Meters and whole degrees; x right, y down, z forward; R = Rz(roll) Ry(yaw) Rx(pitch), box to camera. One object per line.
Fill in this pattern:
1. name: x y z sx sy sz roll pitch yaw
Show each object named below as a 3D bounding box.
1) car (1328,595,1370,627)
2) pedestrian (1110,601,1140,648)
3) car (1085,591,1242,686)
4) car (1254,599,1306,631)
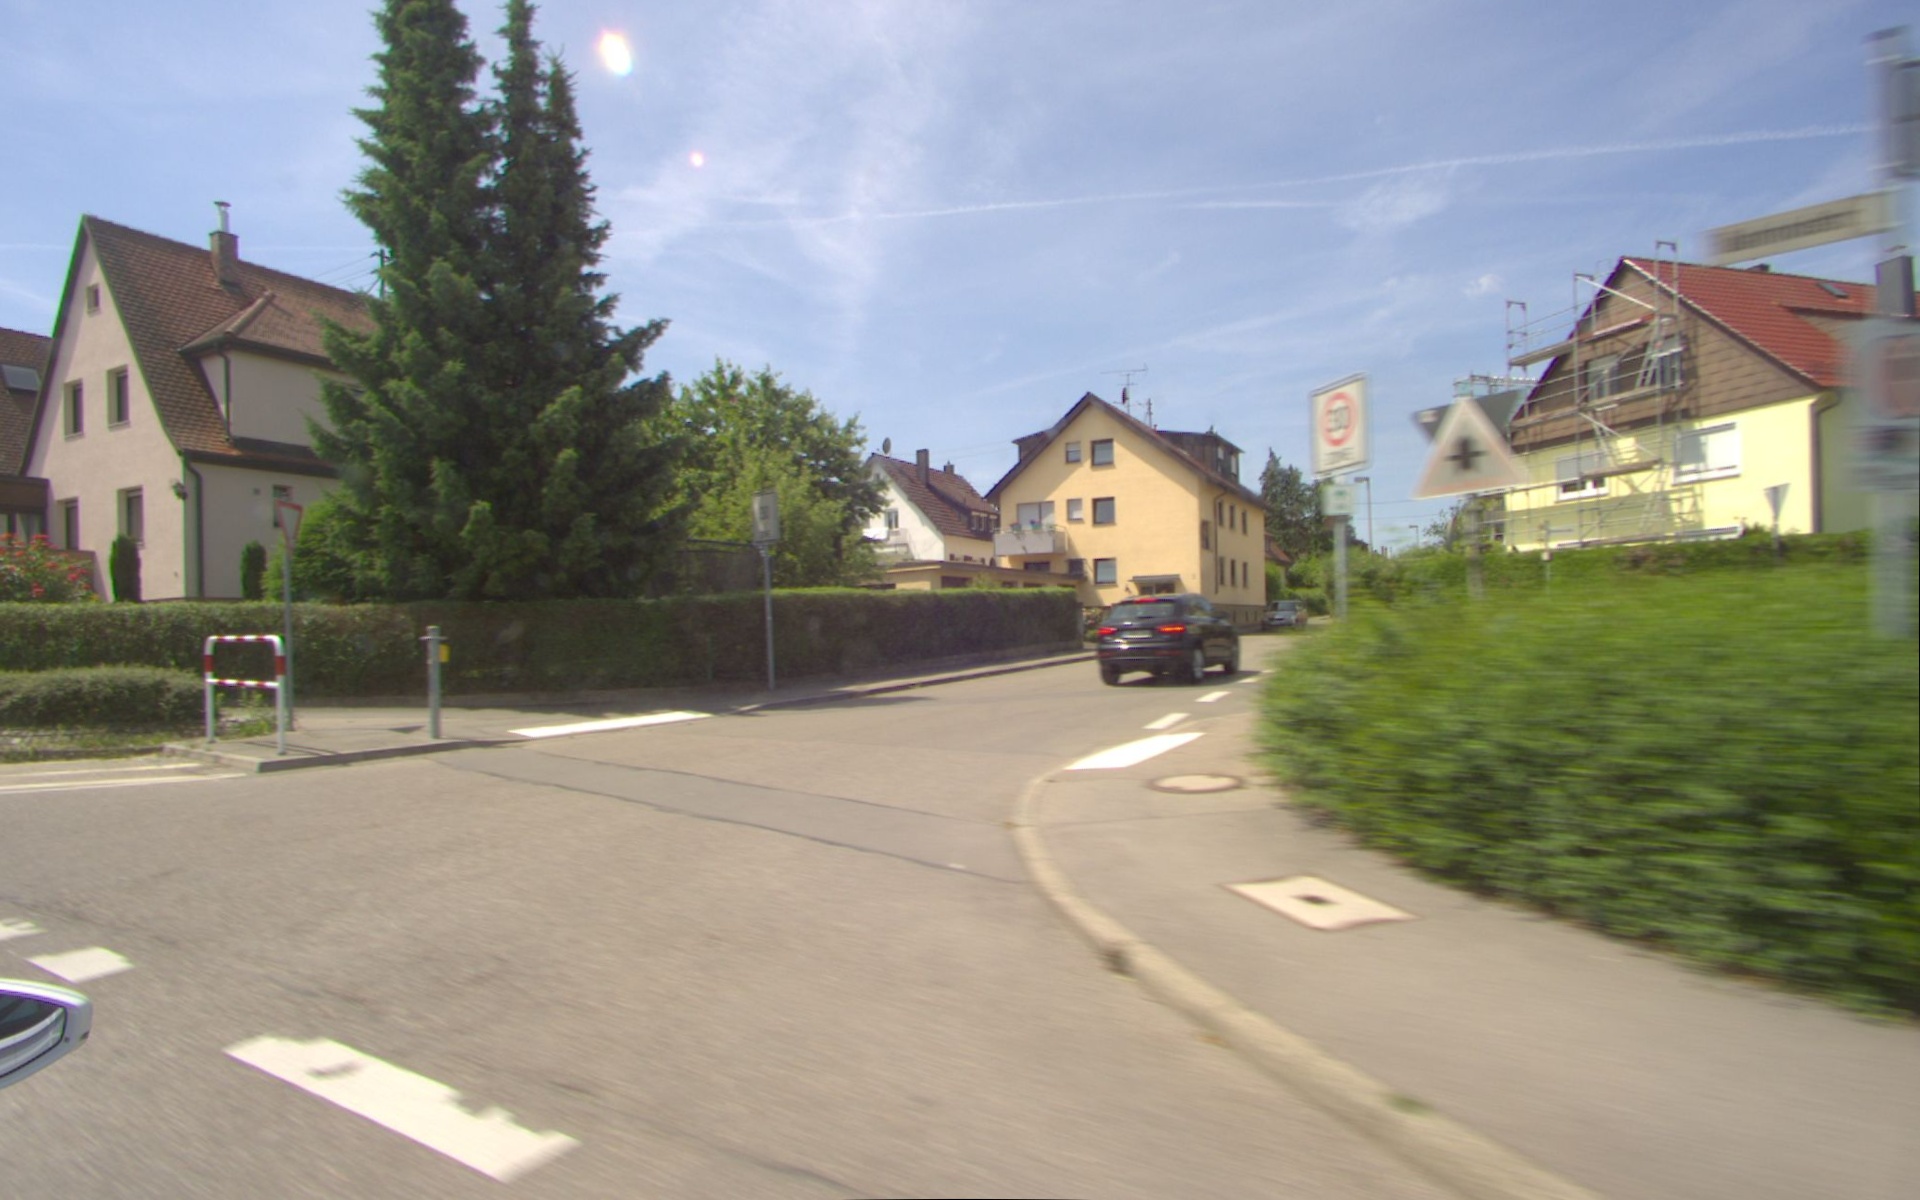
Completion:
1. car: 26.853 0.738 68.989 1.972 2.131 3.979 -1 -1 32
2. pedestrian: 5.317 0.790 32.212 0.667 1.493 0.810 -1 0 32
3. car: 3.897 0.666 18.698 1.747 1.575 3.895 -2 -1 29
4. car: 15.422 0.713 48.159 1.774 1.453 3.788 -1 -1 28
